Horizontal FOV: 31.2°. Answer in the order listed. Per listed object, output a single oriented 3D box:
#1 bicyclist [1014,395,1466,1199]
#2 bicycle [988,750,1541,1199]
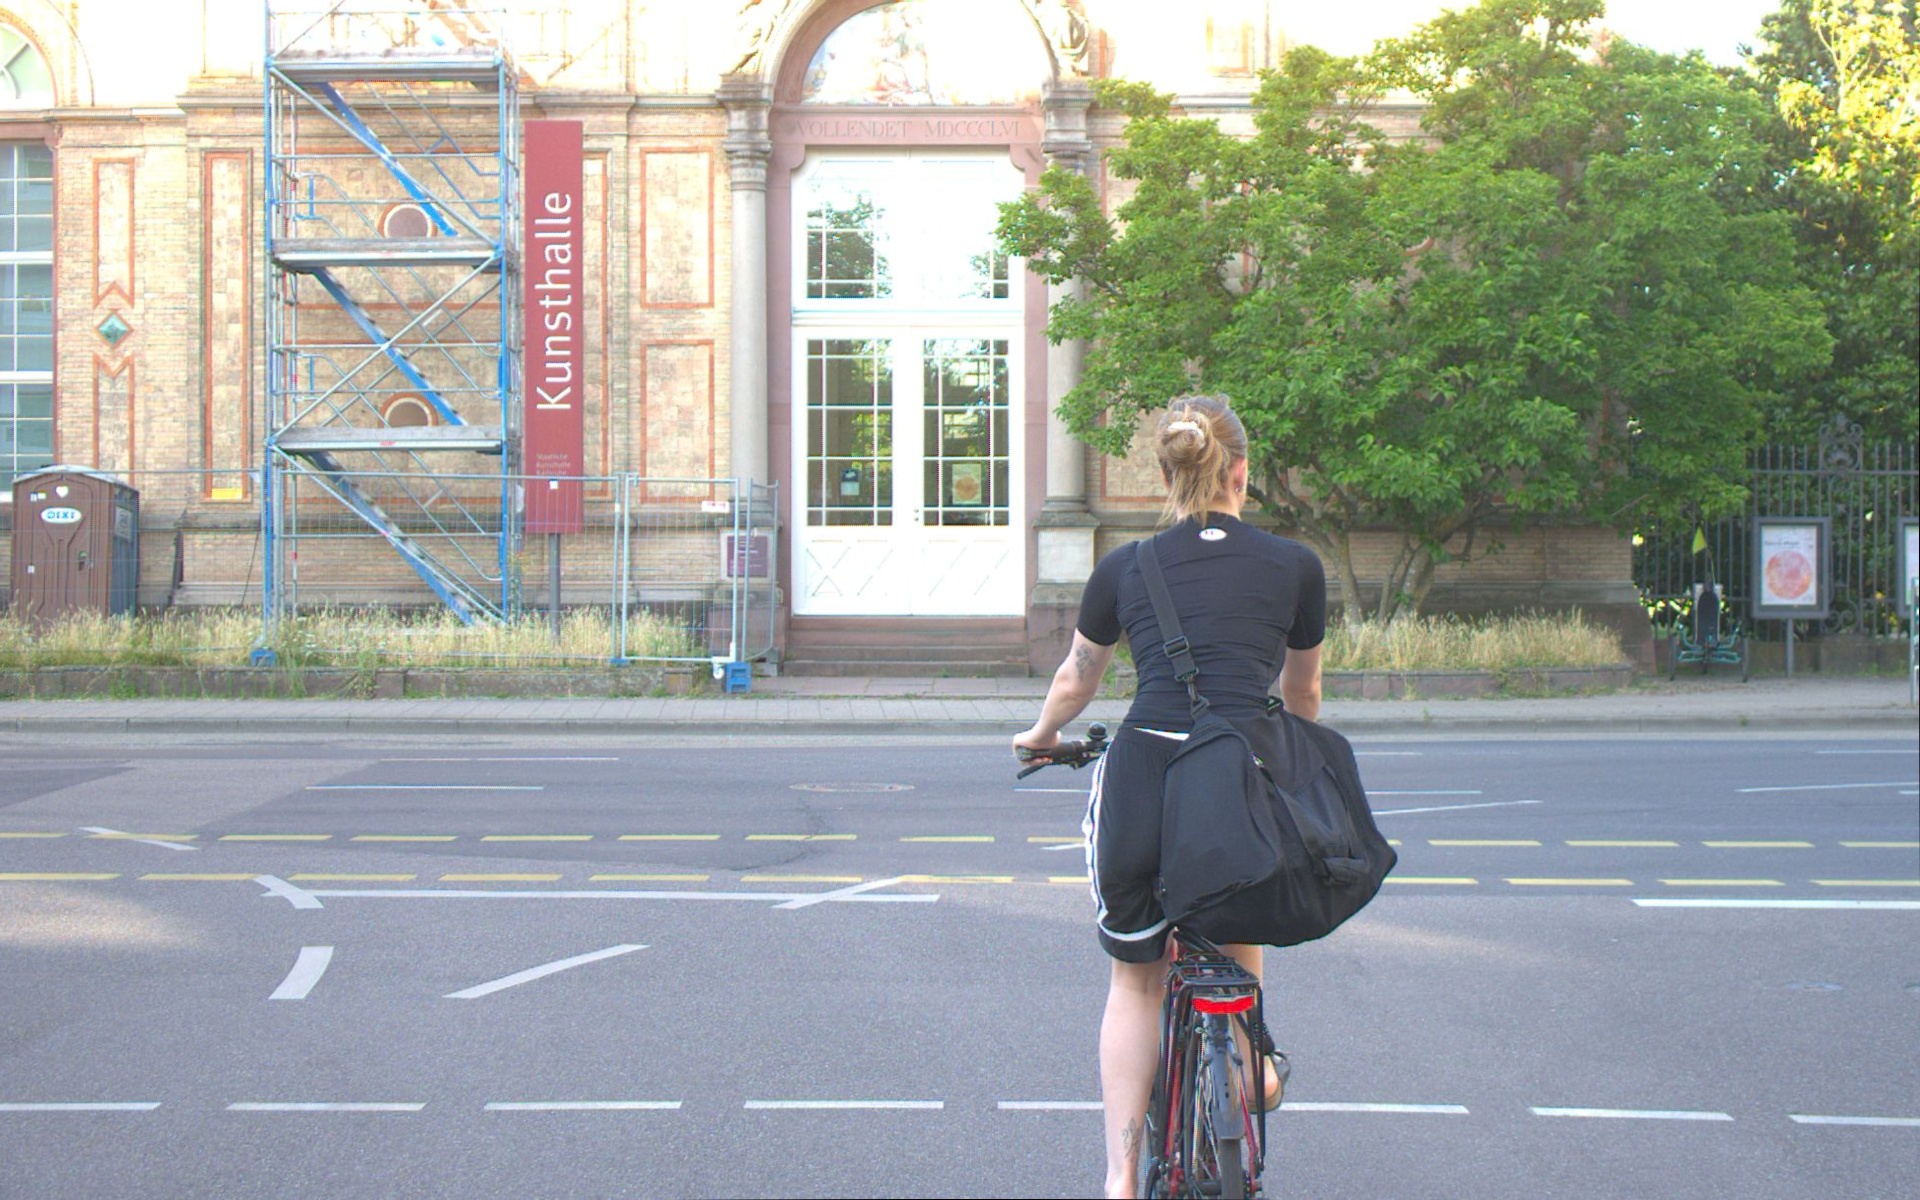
[{"bbox_3d":[0.501,0.396,6.474,0.716,1.497,0.851,0,-1,-5],"label":"bicyclist"},{"bbox_3d":[0.497,0.890,6.523,0.711,1.152,2.069,0,-1,-4],"label":"bicycle"}]
